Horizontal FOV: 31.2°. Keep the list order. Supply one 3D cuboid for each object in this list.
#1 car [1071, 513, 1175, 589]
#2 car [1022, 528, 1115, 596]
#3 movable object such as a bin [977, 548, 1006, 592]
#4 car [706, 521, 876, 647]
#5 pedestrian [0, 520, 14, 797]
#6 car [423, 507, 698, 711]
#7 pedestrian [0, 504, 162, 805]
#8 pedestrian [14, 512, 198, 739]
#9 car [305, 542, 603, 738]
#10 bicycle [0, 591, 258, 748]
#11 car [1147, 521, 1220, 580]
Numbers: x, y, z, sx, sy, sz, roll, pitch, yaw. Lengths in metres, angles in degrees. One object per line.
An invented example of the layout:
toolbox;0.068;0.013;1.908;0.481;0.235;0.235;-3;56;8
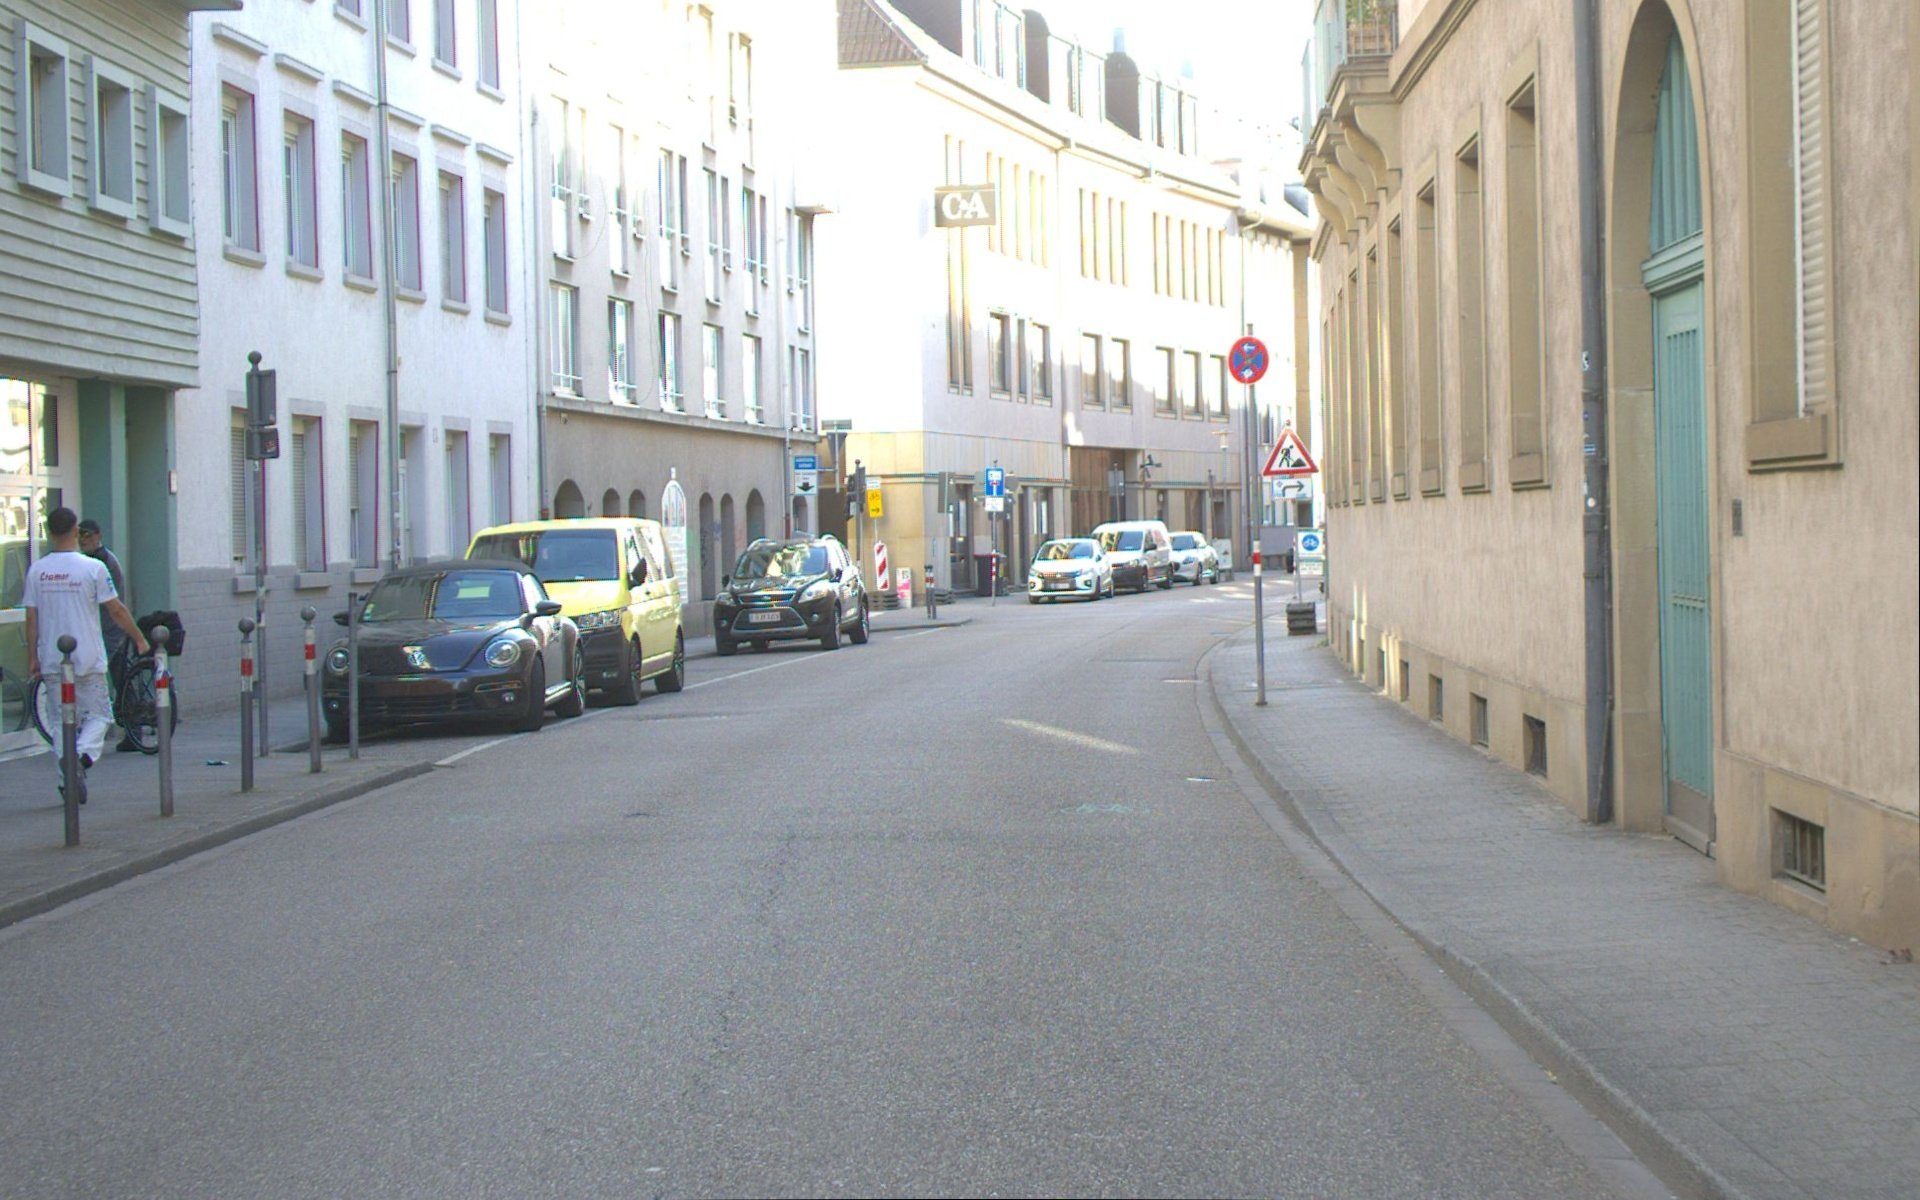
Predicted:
car;4.210;-1.281;88.004;1.671;1.812;4.549;-2;1;15
car;2.621;-0.931;82.331;1.671;1.501;3.792;-2;1;10
movable object such as a bin;0.776;-0.727;83.812;0.609;1.057;0.713;1;1;6
car;-2.520;-0.280;52.170;1.740;1.705;4.189;-4;1;8
pedestrian;-6.135;0.365;20.465;0.672;1.664;0.894;-2;1;2
car;-4.050;0.032;35.694;1.880;1.860;4.863;-4;1;4
pedestrian;-5.234;0.311;20.418;0.698;1.728;0.829;-2;1;2
pedestrian;-6.617;0.191;26.662;1.079;1.722;0.801;-1;1;25
car;-4.374;0.296;30.326;1.819;1.481;4.076;-4;1;2
bicycle;-6.581;0.531;26.654;2.131;1.159;0.822;-1;1;25
car;6.126;-1.372;93.952;1.272;1.501;3.399;-2;1;16
